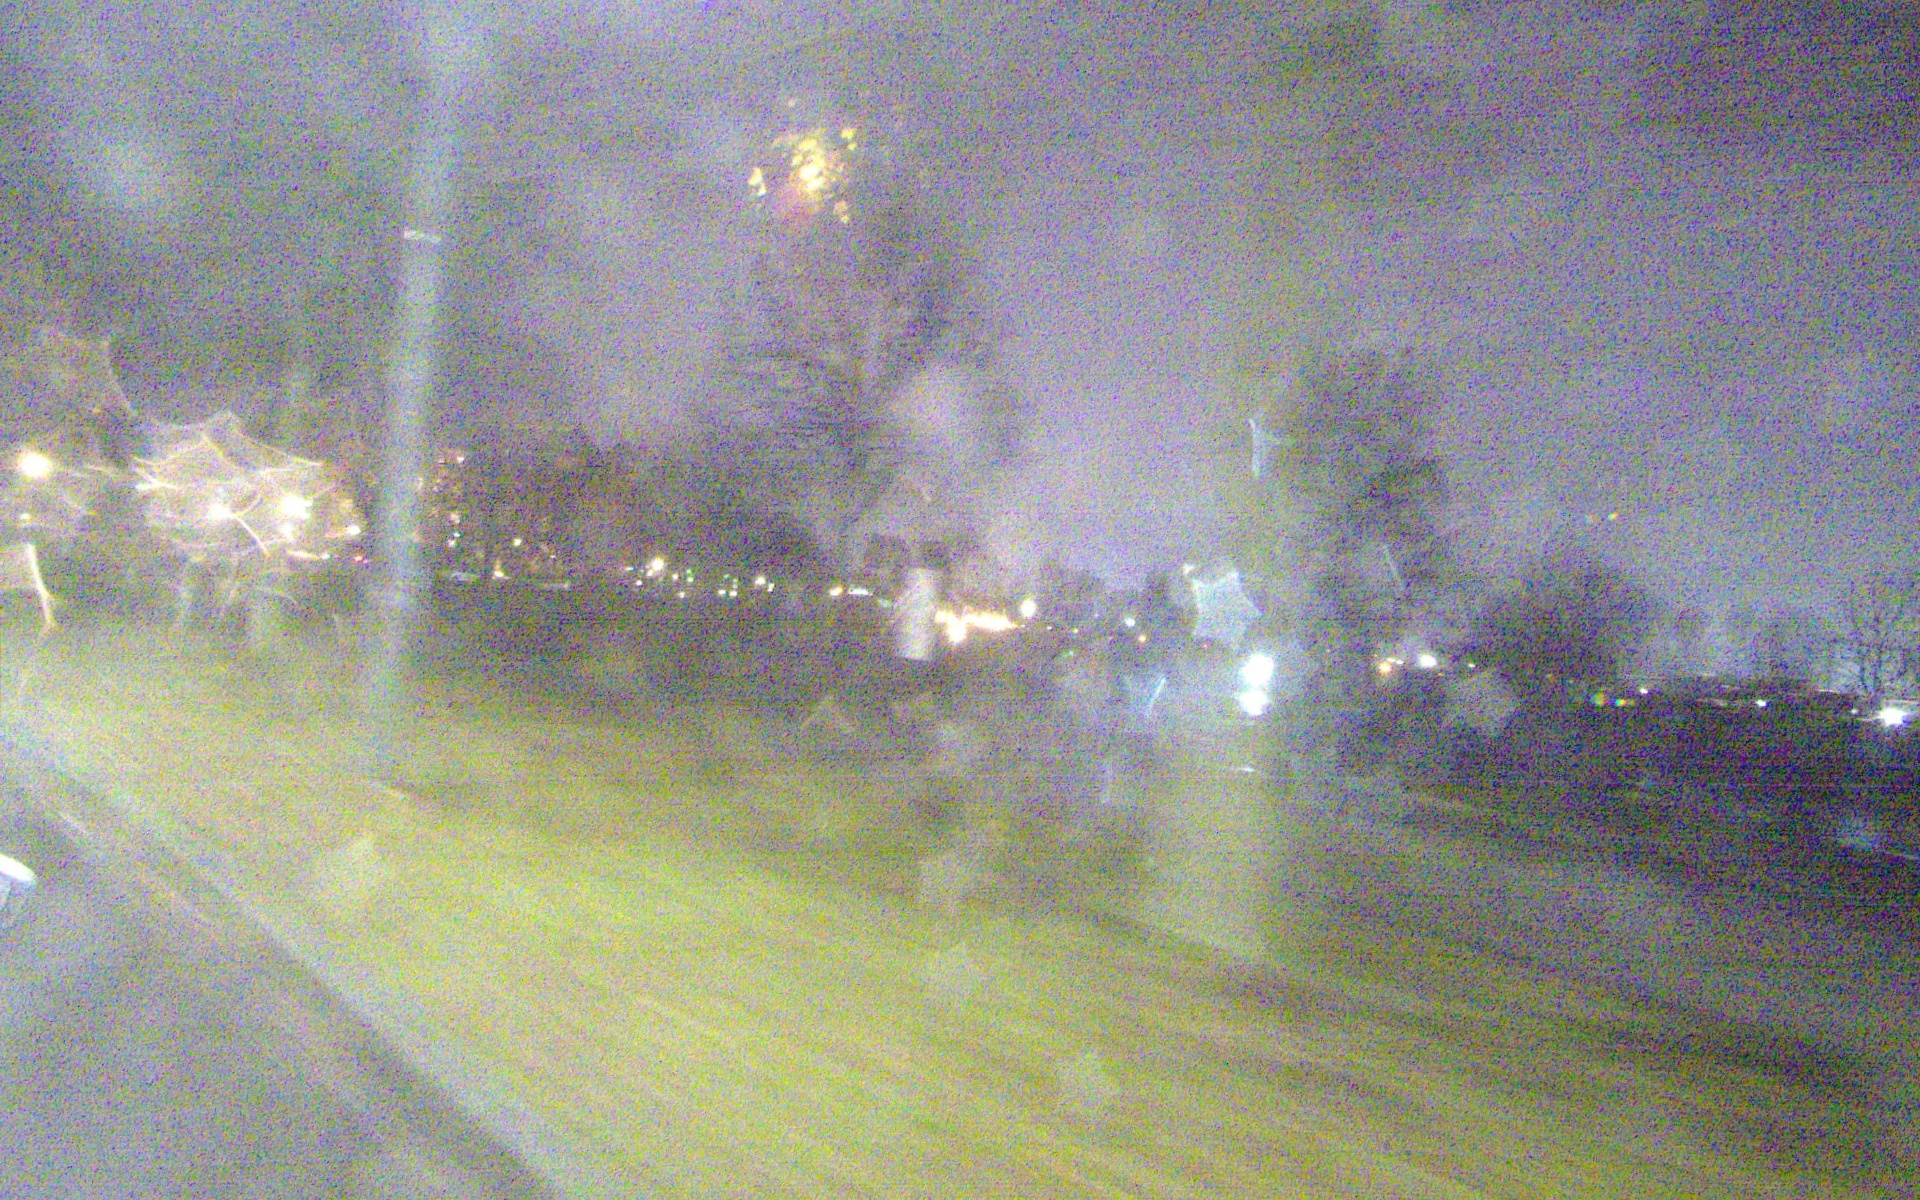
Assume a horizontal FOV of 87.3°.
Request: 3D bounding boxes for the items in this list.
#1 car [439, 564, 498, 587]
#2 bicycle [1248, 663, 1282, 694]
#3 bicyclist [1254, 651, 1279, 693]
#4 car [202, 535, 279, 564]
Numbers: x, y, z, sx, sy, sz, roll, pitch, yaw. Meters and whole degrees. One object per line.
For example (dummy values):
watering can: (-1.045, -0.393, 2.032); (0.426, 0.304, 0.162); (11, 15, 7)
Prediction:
car: (-45.881, -2.278, 93.896); (4.900, 1.554, 1.724); (6, -2, 16)
bicycle: (11.049, 2.856, 36.435); (0.611, 0.988, 2.420); (5, -3, 29)
bicyclist: (11.125, 2.613, 36.495); (0.606, 1.464, 0.605); (5, -1, 30)
car: (-52.230, -3.648, 73.052); (4.900, 1.554, 1.724); (6, -2, 16)
